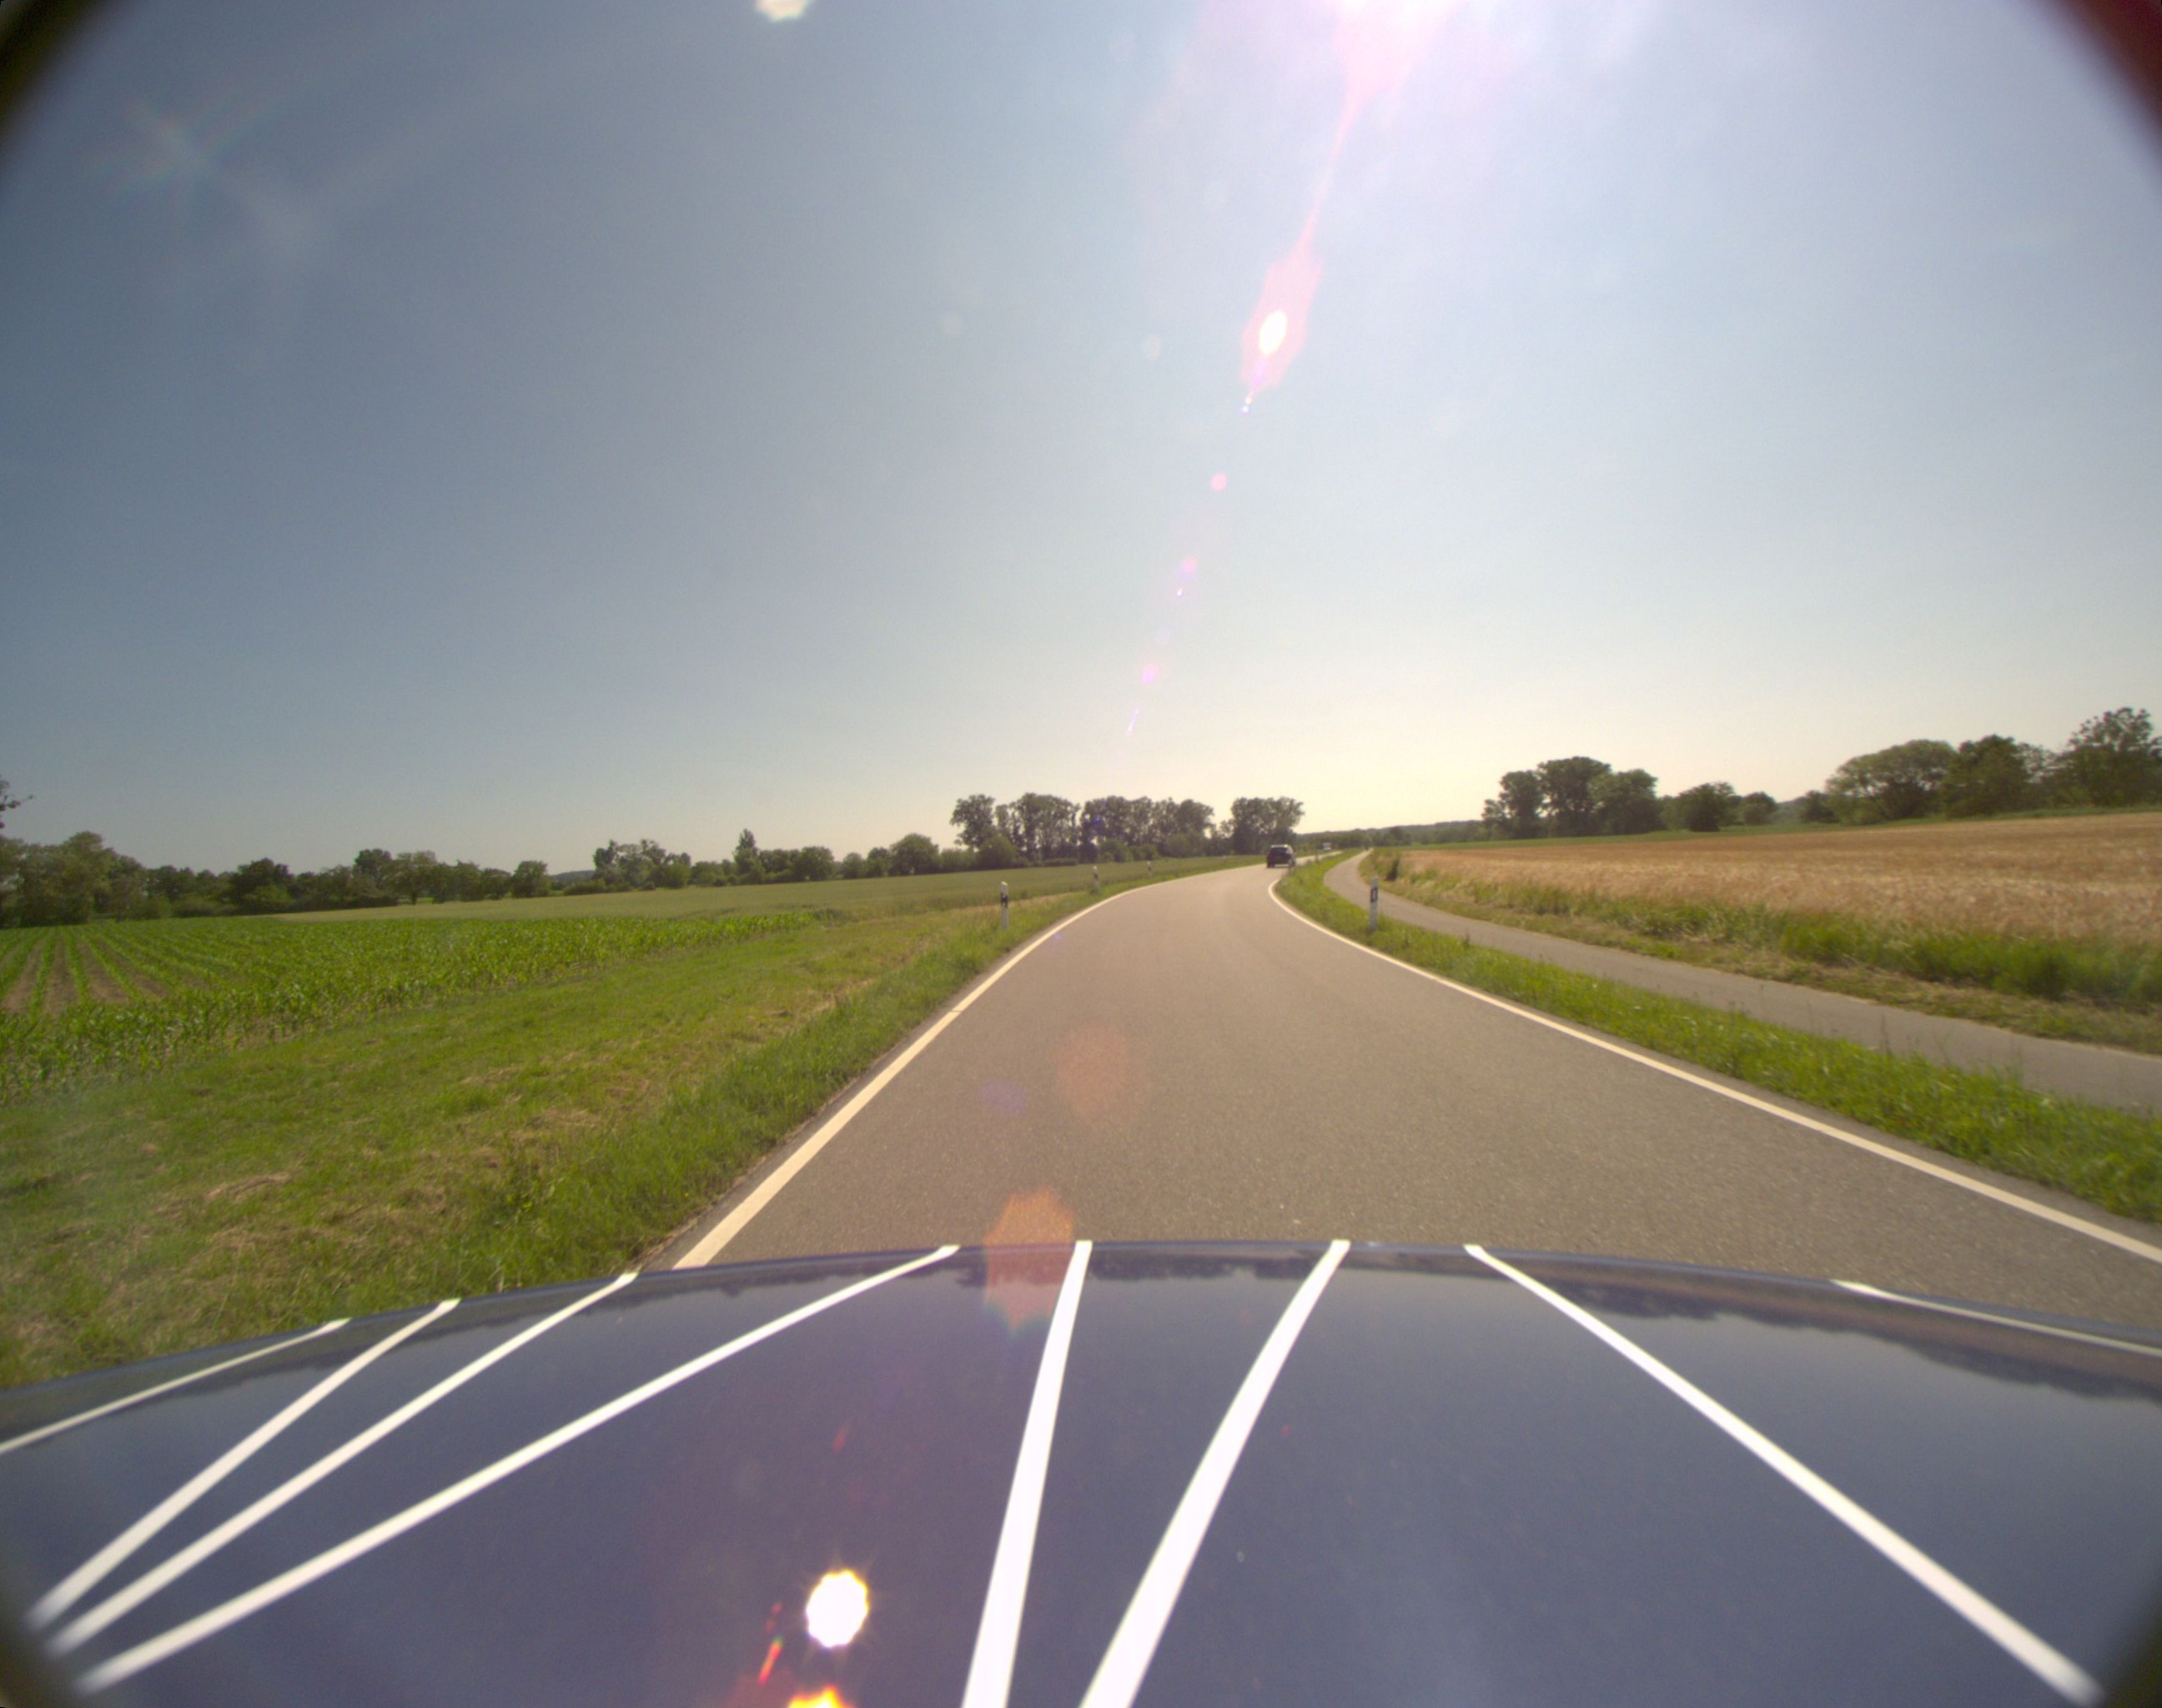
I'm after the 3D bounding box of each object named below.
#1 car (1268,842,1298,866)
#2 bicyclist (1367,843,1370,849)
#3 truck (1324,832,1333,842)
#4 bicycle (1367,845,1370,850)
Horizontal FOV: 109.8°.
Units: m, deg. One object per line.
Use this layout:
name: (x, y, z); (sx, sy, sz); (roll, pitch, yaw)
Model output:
car: (15.866, -0.016, 59.572); (1.889, 1.705, 4.020); (-2, 0, 21)
bicyclist: (71.008, -1.975, 187.605); (0.742, 1.487, 1.004); (-3, 0, 22)
truck: (75.725, -5.269, 232.237); (1.996, 2.821, 5.225); (-3, 0, 22)
bicycle: (71.032, -1.701, 187.600); (0.742, 1.165, 2.085); (-3, 0, 22)
